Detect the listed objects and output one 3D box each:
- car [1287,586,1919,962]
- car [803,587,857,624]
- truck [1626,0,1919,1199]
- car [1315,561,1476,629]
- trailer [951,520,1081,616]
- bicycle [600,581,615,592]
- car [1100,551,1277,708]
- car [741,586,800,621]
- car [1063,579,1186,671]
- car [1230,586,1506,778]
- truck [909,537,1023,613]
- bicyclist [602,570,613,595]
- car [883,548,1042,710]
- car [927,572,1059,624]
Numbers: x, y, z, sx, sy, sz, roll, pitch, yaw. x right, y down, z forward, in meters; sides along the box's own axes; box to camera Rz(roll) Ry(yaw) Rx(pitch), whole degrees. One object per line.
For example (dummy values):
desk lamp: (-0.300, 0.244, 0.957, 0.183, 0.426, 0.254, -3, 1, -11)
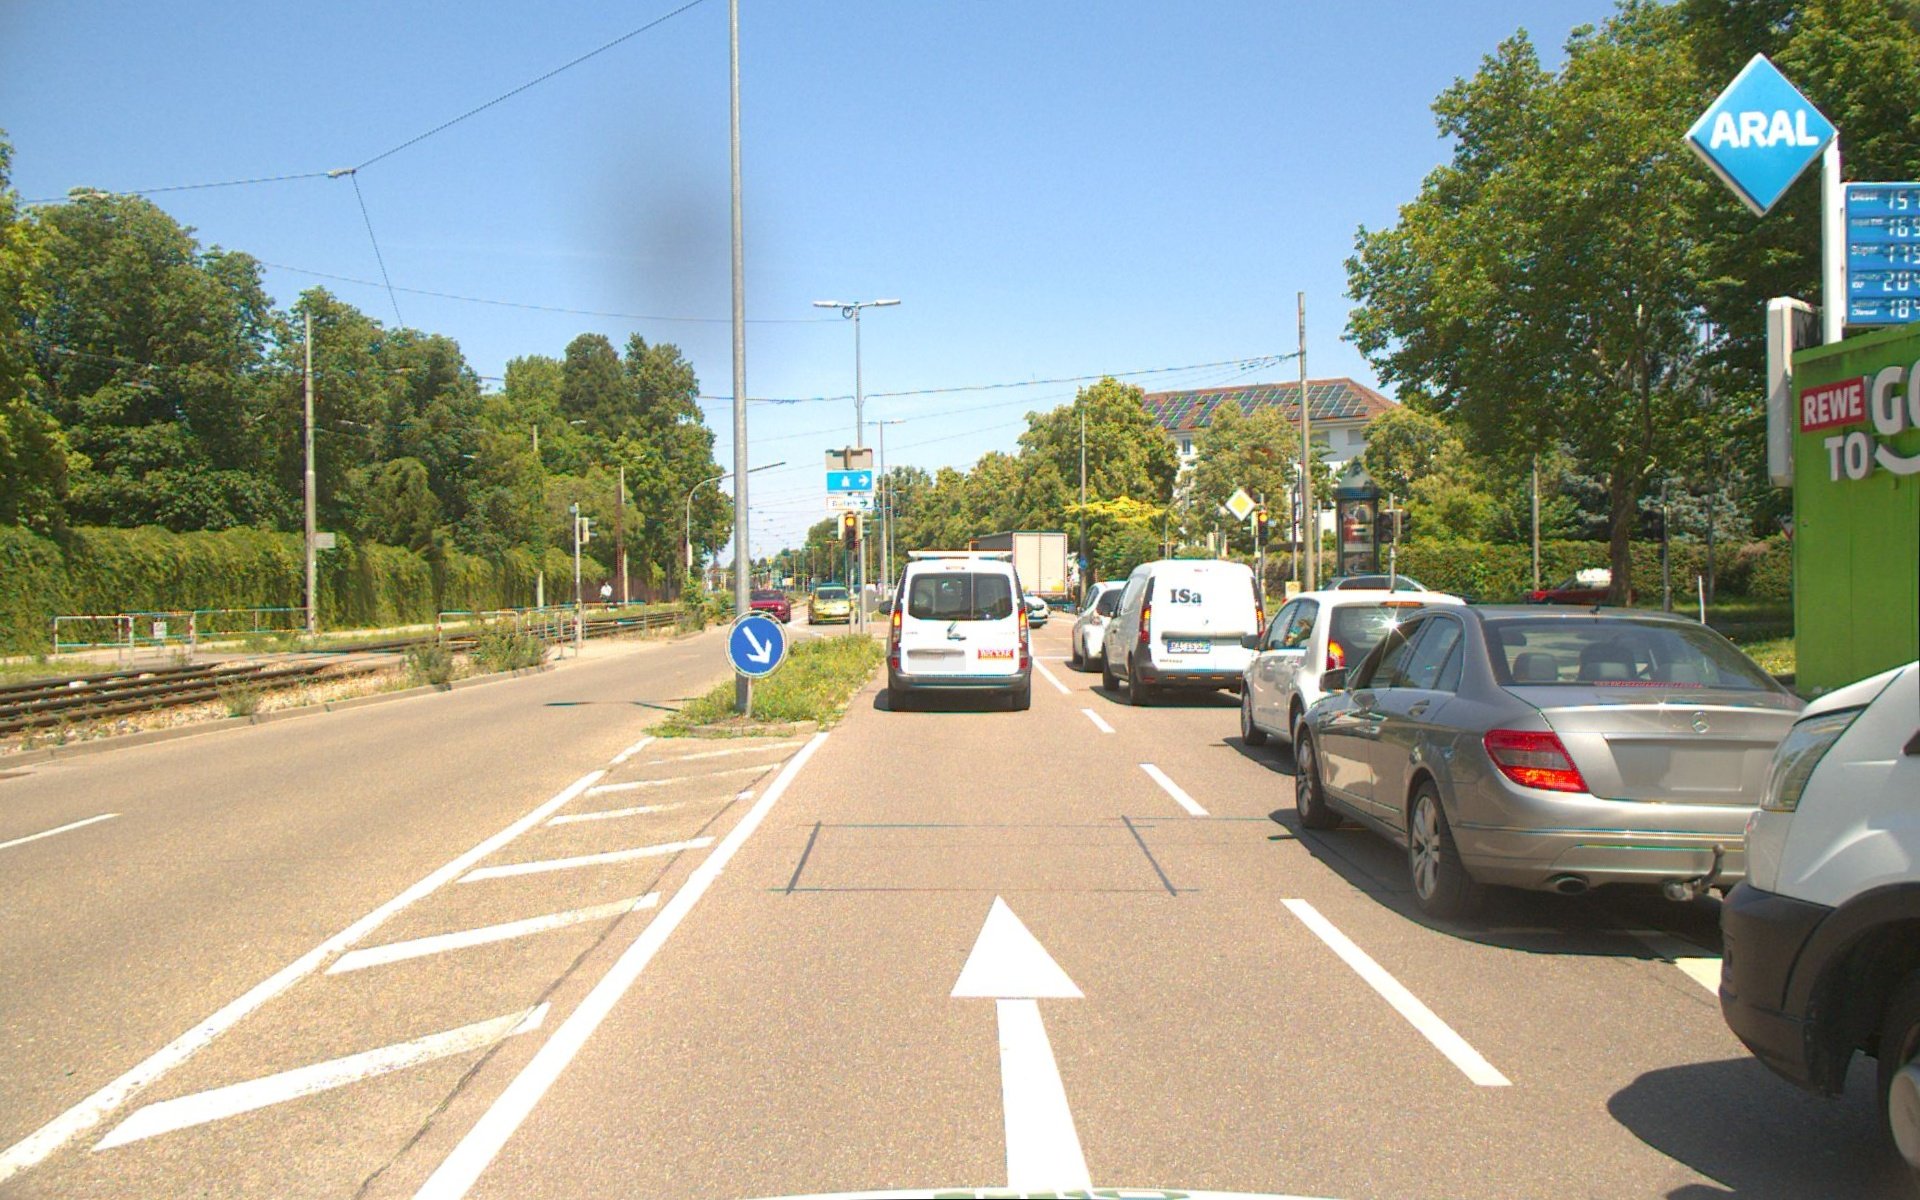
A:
car: (3.063, 0.679, 8.834, 1.759, 1.475, 4.418, -1, 1, 0)
car: (-5.186, 0.209, 65.492, 1.513, 1.403, 3.988, -1, 1, -14)
truck: (4.301, -0.179, 1.317, 2.385, 3.450, 7.786, -1, 1, -20)
car: (12.695, -0.144, 48.363, 4.428, 1.861, 2.002, -1, 0, 15)
trailer: (2.443, -1.433, 76.397, 3.470, 4.121, 8.939, -1, 1, -16)
bicycle: (-21.603, -0.848, 101.423, 0.549, 0.659, 1.720, -1, 1, 0)
car: (2.921, 0.332, 21.908, 1.675, 1.862, 4.012, 1, 1, -1)
car: (-8.039, 0.121, 70.555, 1.943, 1.382, 4.538, -1, 1, 0)
car: (2.878, 0.392, 29.630, 1.720, 1.512, 3.999, -1, 1, -1)
car: (3.482, 0.627, 14.712, 1.574, 1.477, 3.521, 1, 1, 0)
truck: (0.185, -1.257, 84.927, 3.518, 3.696, 8.770, -1, 1, -16)
bicyclist: (-21.602, -1.094, 101.388, 0.546, 1.504, 0.561, -1, 0, 0)
car: (-0.016, 0.316, 21.001, 1.829, 1.868, 3.848, 0, 1, -2)
car: (1.064, -0.073, 55.456, 1.983, 1.645, 4.388, -1, 1, -41)
